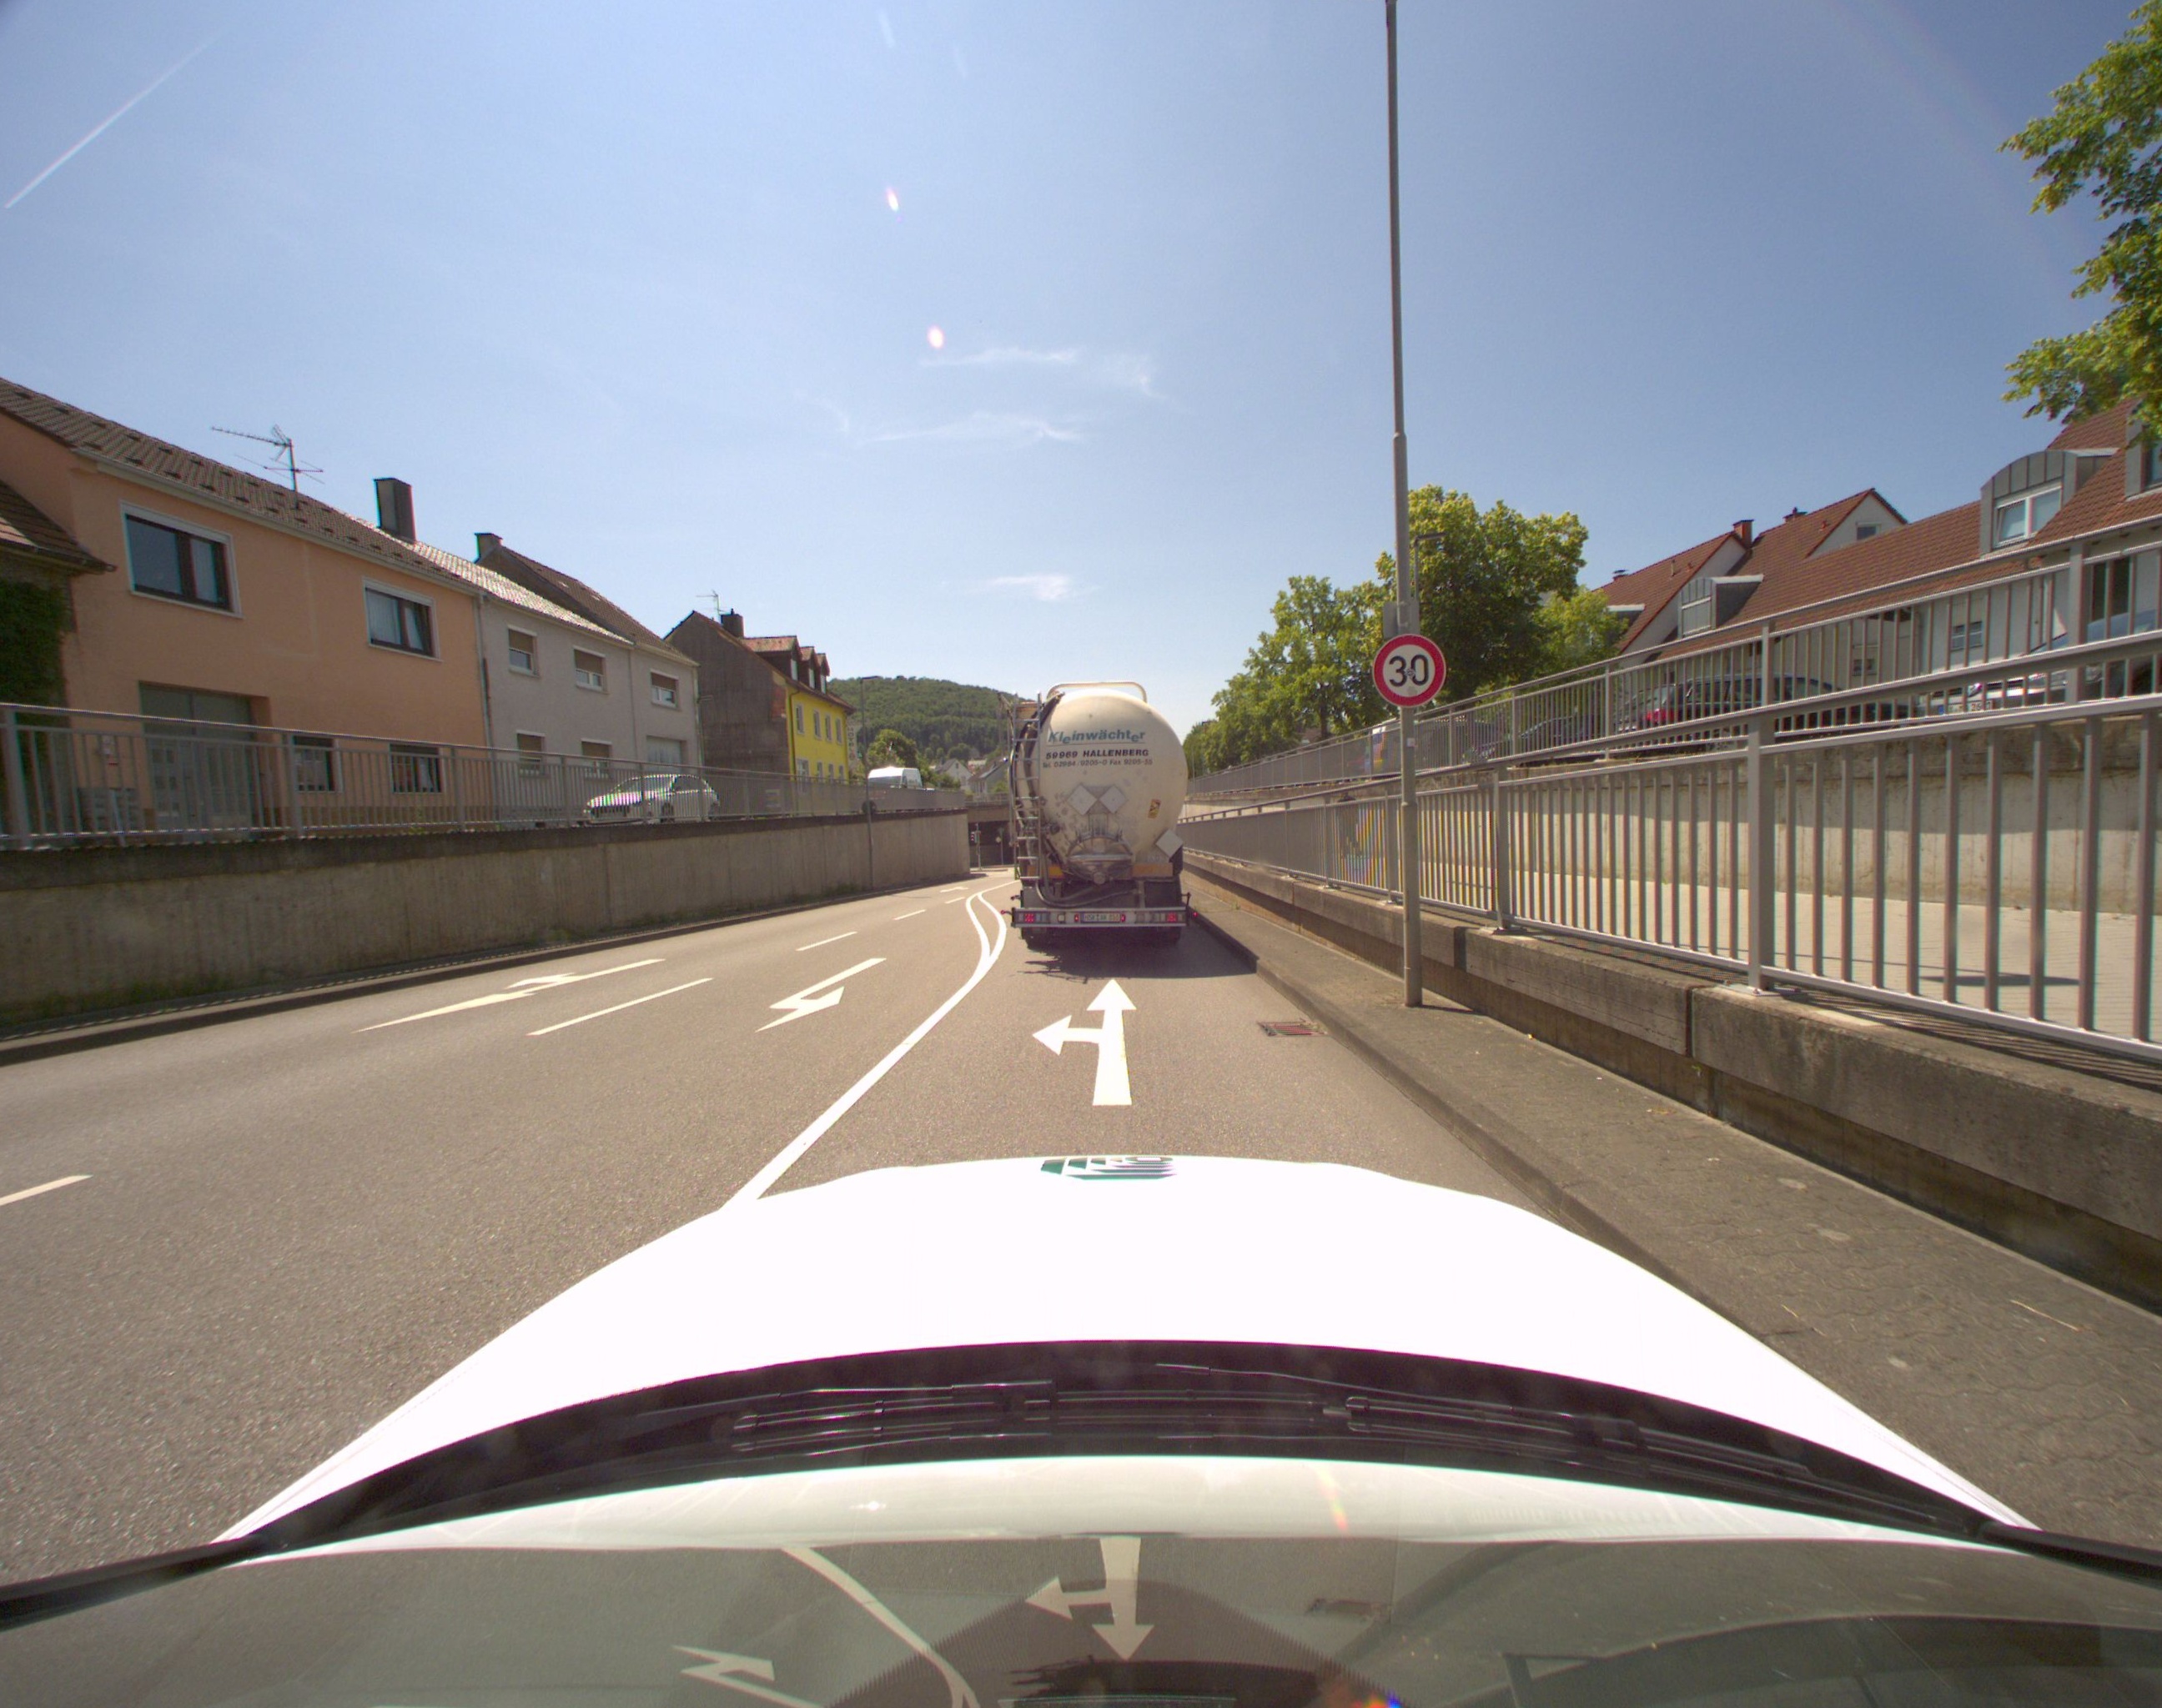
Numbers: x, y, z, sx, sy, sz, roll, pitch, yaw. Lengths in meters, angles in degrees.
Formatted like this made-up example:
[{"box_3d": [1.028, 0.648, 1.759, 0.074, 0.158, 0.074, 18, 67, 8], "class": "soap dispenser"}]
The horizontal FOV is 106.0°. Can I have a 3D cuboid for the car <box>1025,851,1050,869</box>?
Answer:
[{"box_3d": [-3.895, 0.531, 73.008, 1.753, 1.489, 4.371, -1, 0, 3], "class": "car"}]

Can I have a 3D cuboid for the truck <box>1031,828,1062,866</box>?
[{"box_3d": [-3.696, -0.716, 88.549, 2.651, 3.860, 6.584, -1, 0, 3], "class": "truck"}]

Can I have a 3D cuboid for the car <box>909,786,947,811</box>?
[{"box_3d": [-9.825, -3.550, 52.624, 1.613, 1.500, 4.046, -1, 3, 1], "class": "car"}]

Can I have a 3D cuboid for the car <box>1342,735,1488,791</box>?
[{"box_3d": [11.079, -3.000, 27.190, 4.187, 1.595, 1.688, -2, 3, 2], "class": "car"}]

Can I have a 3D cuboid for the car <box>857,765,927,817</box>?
[{"box_3d": [-9.923, -3.295, 43.232, 2.057, 2.535, 5.668, -1, 3, 3], "class": "car"}]

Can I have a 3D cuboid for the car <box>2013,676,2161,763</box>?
[{"box_3d": [21.972, -2.782, 16.364, 4.389, 1.489, 1.759, -4, 3, 2], "class": "car"}]

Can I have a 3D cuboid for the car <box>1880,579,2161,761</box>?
[{"box_3d": [10.945, -1.836, 8.229, 3.971, 1.498, 1.750, -2, 3, 2], "class": "car"}]

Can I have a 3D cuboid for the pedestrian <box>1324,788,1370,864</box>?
[{"box_3d": [6.487, -0.672, 19.903, 0.833, 1.781, 0.789, -2, 1, 2], "class": "pedestrian"}]

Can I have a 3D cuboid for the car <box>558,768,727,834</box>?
[{"box_3d": [-10.865, -1.336, 20.599, 1.806, 1.462, 4.312, -1, 3, 1], "class": "car"}]

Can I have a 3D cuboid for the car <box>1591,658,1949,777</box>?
[{"box_3d": [10.710, -2.095, 12.898, 4.187, 1.498, 1.688, -2, 3, 2], "class": "car"}]

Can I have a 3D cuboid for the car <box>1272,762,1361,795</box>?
[{"box_3d": [11.379, -3.637, 39.523, 3.890, 1.367, 1.688, -2, 3, 2], "class": "car"}]

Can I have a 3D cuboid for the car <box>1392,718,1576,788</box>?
[{"box_3d": [10.936, -2.732, 22.292, 4.187, 1.595, 1.688, -2, 3, 2], "class": "car"}]

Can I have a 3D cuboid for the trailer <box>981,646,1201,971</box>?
[{"box_3d": [0.464, -0.584, 16.961, 2.724, 4.064, 13.323, -1, 0, 3], "class": "trailer"}]

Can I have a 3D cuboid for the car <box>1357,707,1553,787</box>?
[{"box_3d": [11.384, -3.228, 25.048, 5.091, 2.063, 1.991, -2, 3, 2], "class": "car"}]

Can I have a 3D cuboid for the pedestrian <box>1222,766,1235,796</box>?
[{"box_3d": [8.972, -4.464, 49.582, 0.670, 1.779, 0.595, -2, 3, 3], "class": "pedestrian"}]

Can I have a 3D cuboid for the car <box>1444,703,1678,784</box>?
[{"box_3d": [10.787, -2.460, 18.515, 4.268, 1.498, 1.750, -2, 3, 2], "class": "car"}]

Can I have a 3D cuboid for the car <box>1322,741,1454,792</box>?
[{"box_3d": [11.174, -3.158, 29.792, 4.187, 1.595, 1.688, -2, 3, 2], "class": "car"}]

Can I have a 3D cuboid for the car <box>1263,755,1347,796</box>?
[{"box_3d": [11.491, -4.034, 41.954, 3.890, 1.884, 1.688, -2, 3, 2], "class": "car"}]
